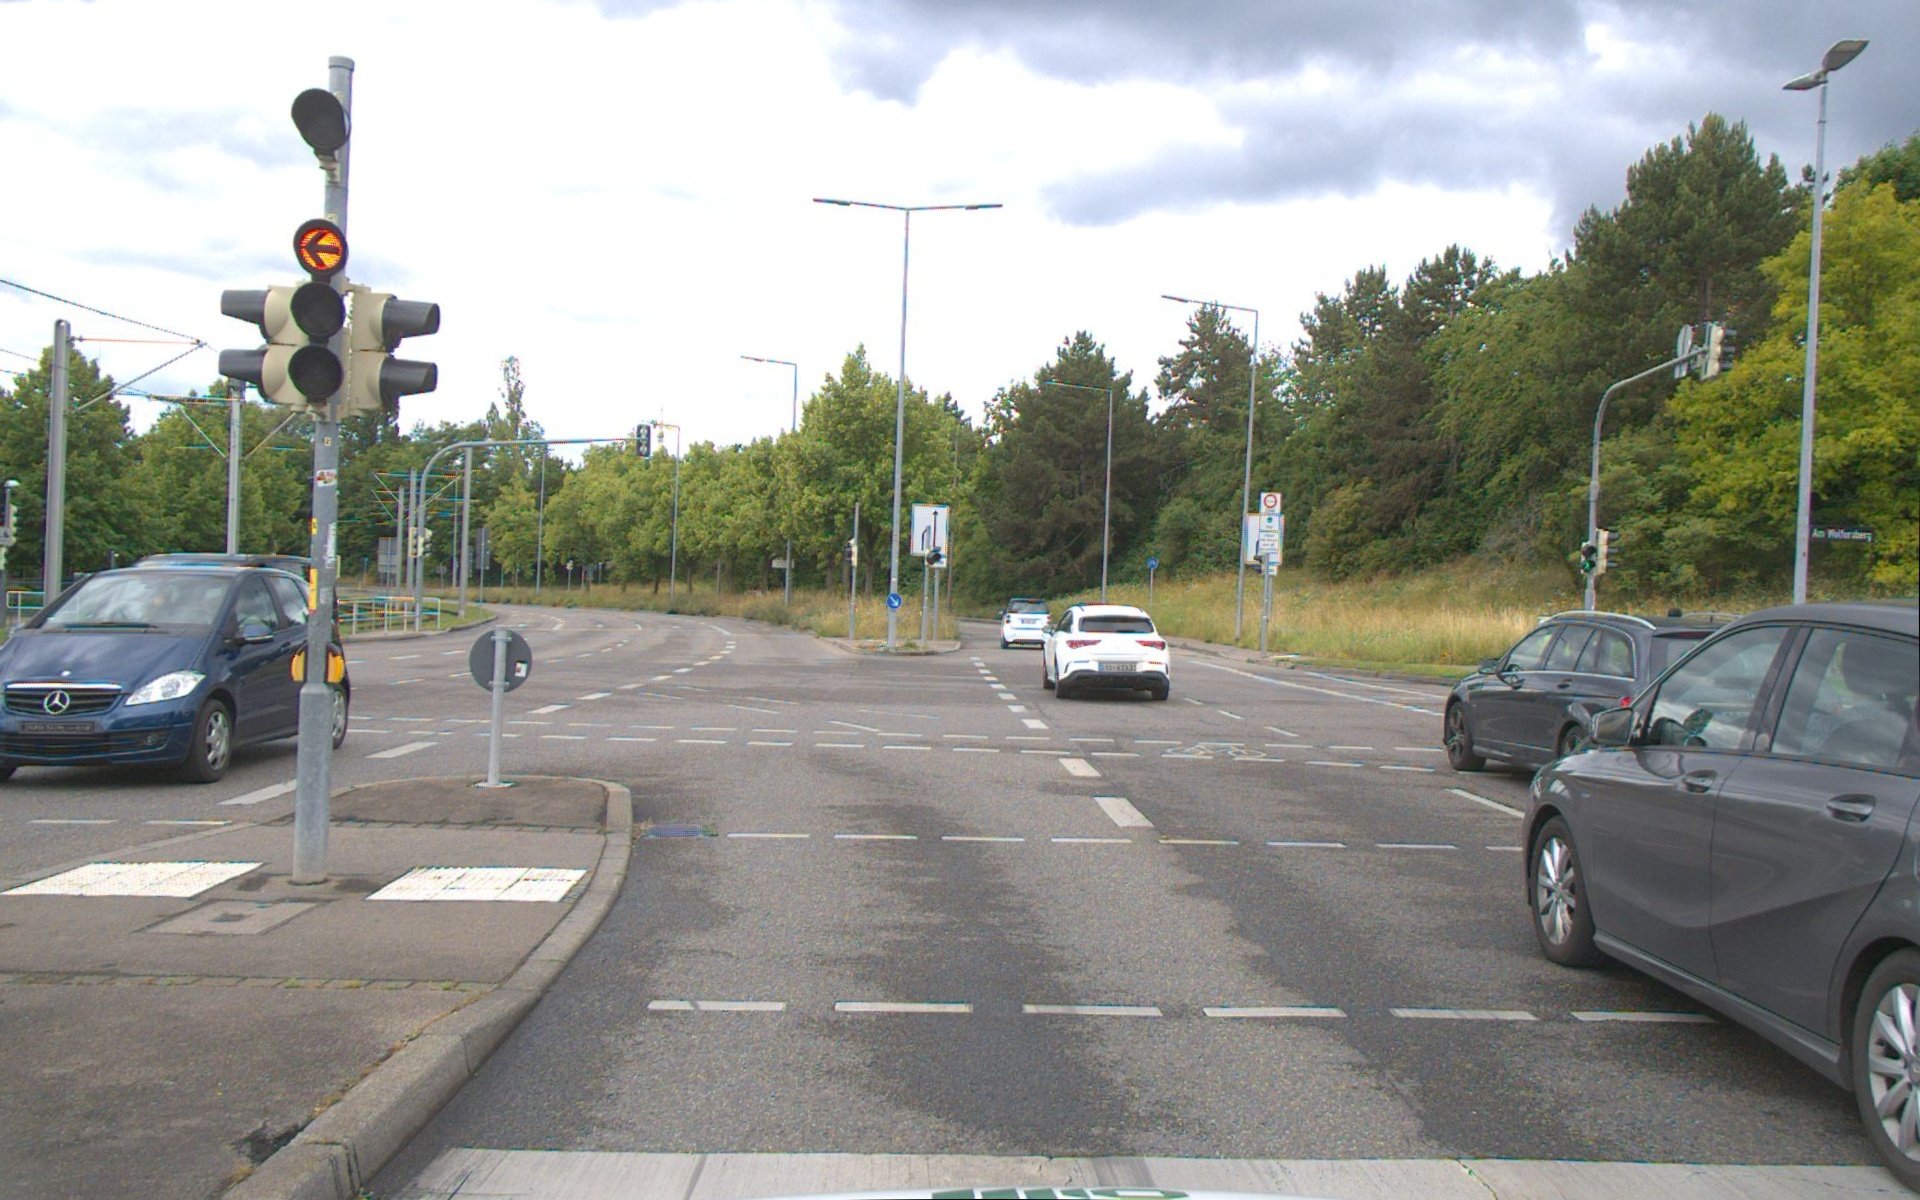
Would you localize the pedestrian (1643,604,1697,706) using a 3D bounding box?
[{"bbox_3d":[12.020,0.925,28.015,0.630,1.691,0.714,1,-1,6],"label":"pedestrian"}]

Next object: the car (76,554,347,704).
[{"bbox_3d":[-10.196,0.354,23.004,1.851,1.844,5.086,0,0,-5],"label":"car"}]

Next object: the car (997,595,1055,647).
[{"bbox_3d":[2.000,0.633,51.047,1.560,1.543,2.765,1,0,-2],"label":"car"}]

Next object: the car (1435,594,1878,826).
[{"bbox_3d":[5.398,0.747,13.511,1.711,1.511,4.355,1,1,-1],"label":"car"}]

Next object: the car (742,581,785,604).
[{"bbox_3d":[-14.350,-0.518,120.857,1.765,1.631,3.849,1,0,-29],"label":"car"}]

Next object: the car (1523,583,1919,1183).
[{"bbox_3d":[3.360,0.728,5.458,1.710,1.534,4.001,1,1,2],"label":"car"}]

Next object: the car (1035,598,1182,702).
[{"bbox_3d":[2.332,0.762,27.122,1.807,1.533,4.528,1,0,-3],"label":"car"}]

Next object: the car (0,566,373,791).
[{"bbox_3d":[-6.182,0.520,13.250,1.701,1.535,3.659,1,1,-2],"label":"car"}]

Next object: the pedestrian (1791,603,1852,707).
[{"bbox_3d":[13.812,0.867,26.518,0.630,1.640,0.714,1,-1,5],"label":"pedestrian"}]

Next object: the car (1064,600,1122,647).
[{"bbox_3d":[4.425,0.768,55.444,1.580,1.479,3.881,1,0,-1],"label":"car"}]
